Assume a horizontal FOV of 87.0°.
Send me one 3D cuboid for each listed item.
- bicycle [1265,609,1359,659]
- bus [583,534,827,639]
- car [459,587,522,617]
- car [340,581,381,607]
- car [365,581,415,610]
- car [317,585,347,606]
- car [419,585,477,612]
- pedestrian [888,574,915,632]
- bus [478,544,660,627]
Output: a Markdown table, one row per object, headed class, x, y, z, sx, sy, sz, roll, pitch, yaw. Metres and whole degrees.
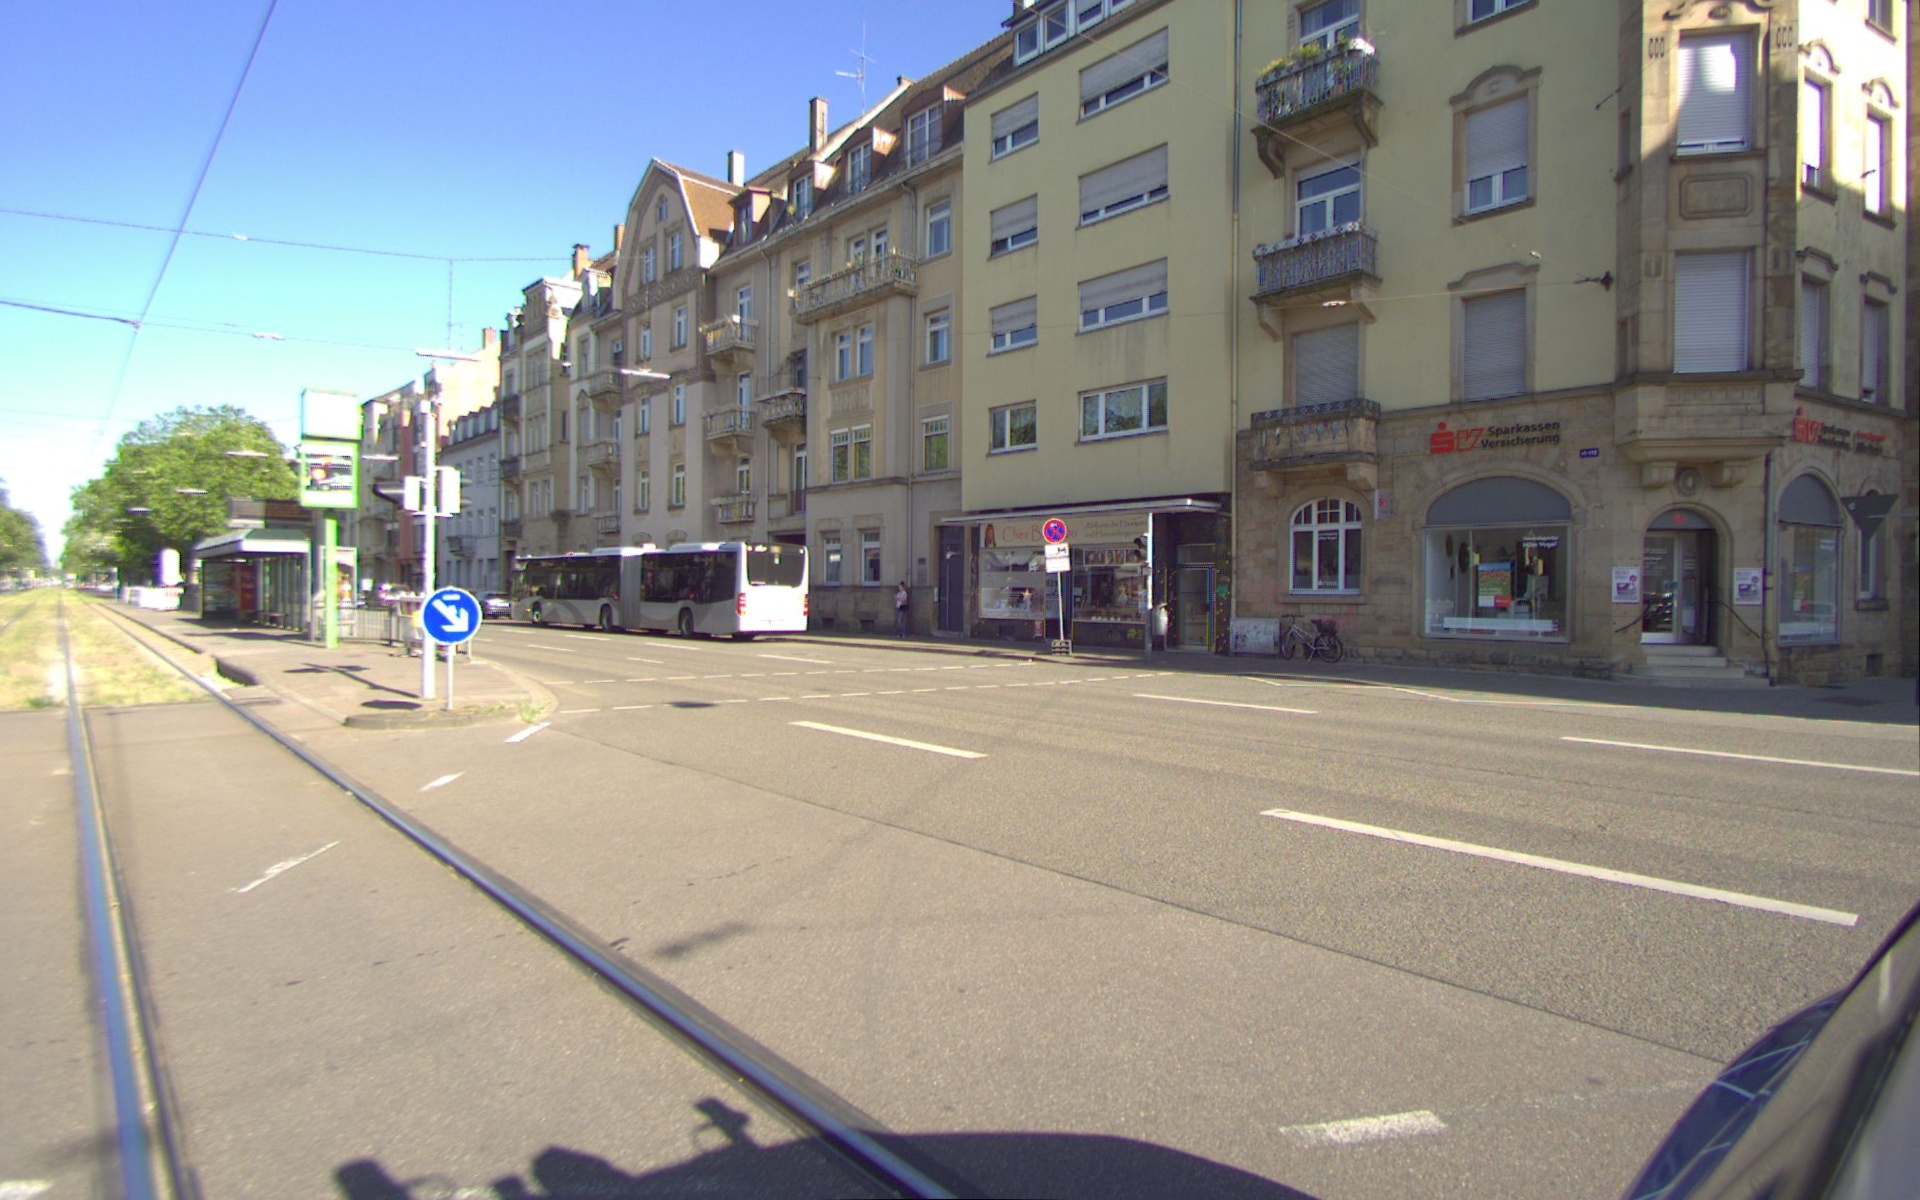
| class | x | y | z | sx | sy | sz | roll | pitch | yaw |
| --- | --- | --- | --- | --- | --- | --- | --- | --- | --- |
| bicycle | 7.680 | 0.727 | 22.154 | 0.508 | 0.987 | 1.950 | -3 | 3 | -41 |
| bus | -8.981 | -0.454 | 34.343 | 3.082 | 3.072 | 10.654 | 1 | 0 | -45 |
| car | -24.341 | 0.090 | 52.410 | 1.723 | 1.438 | 3.989 | 1 | 0 | -45 |
| car | -44.326 | -0.458 | 74.803 | 1.771 | 1.812 | 3.990 | 1 | 0 | -44 |
| car | -38.604 | -0.297 | 68.478 | 1.997 | 1.918 | 3.990 | 1 | 0 | -44 |
| car | -50.978 | -0.387 | 82.146 | 1.534 | 1.626 | 3.569 | 1 | 0 | -41 |
| car | -28.396 | -0.102 | 56.060 | 1.723 | 1.438 | 3.989 | 1 | 0 | -45 |
| pedestrian | -1.872 | 0.087 | 32.256 | 0.696 | 1.826 | 0.521 | 0 | 0 | -38 |
| bus | -16.496 | -0.609 | 42.048 | 3.044 | 3.055 | 10.836 | 1 | 0 | -44 |
